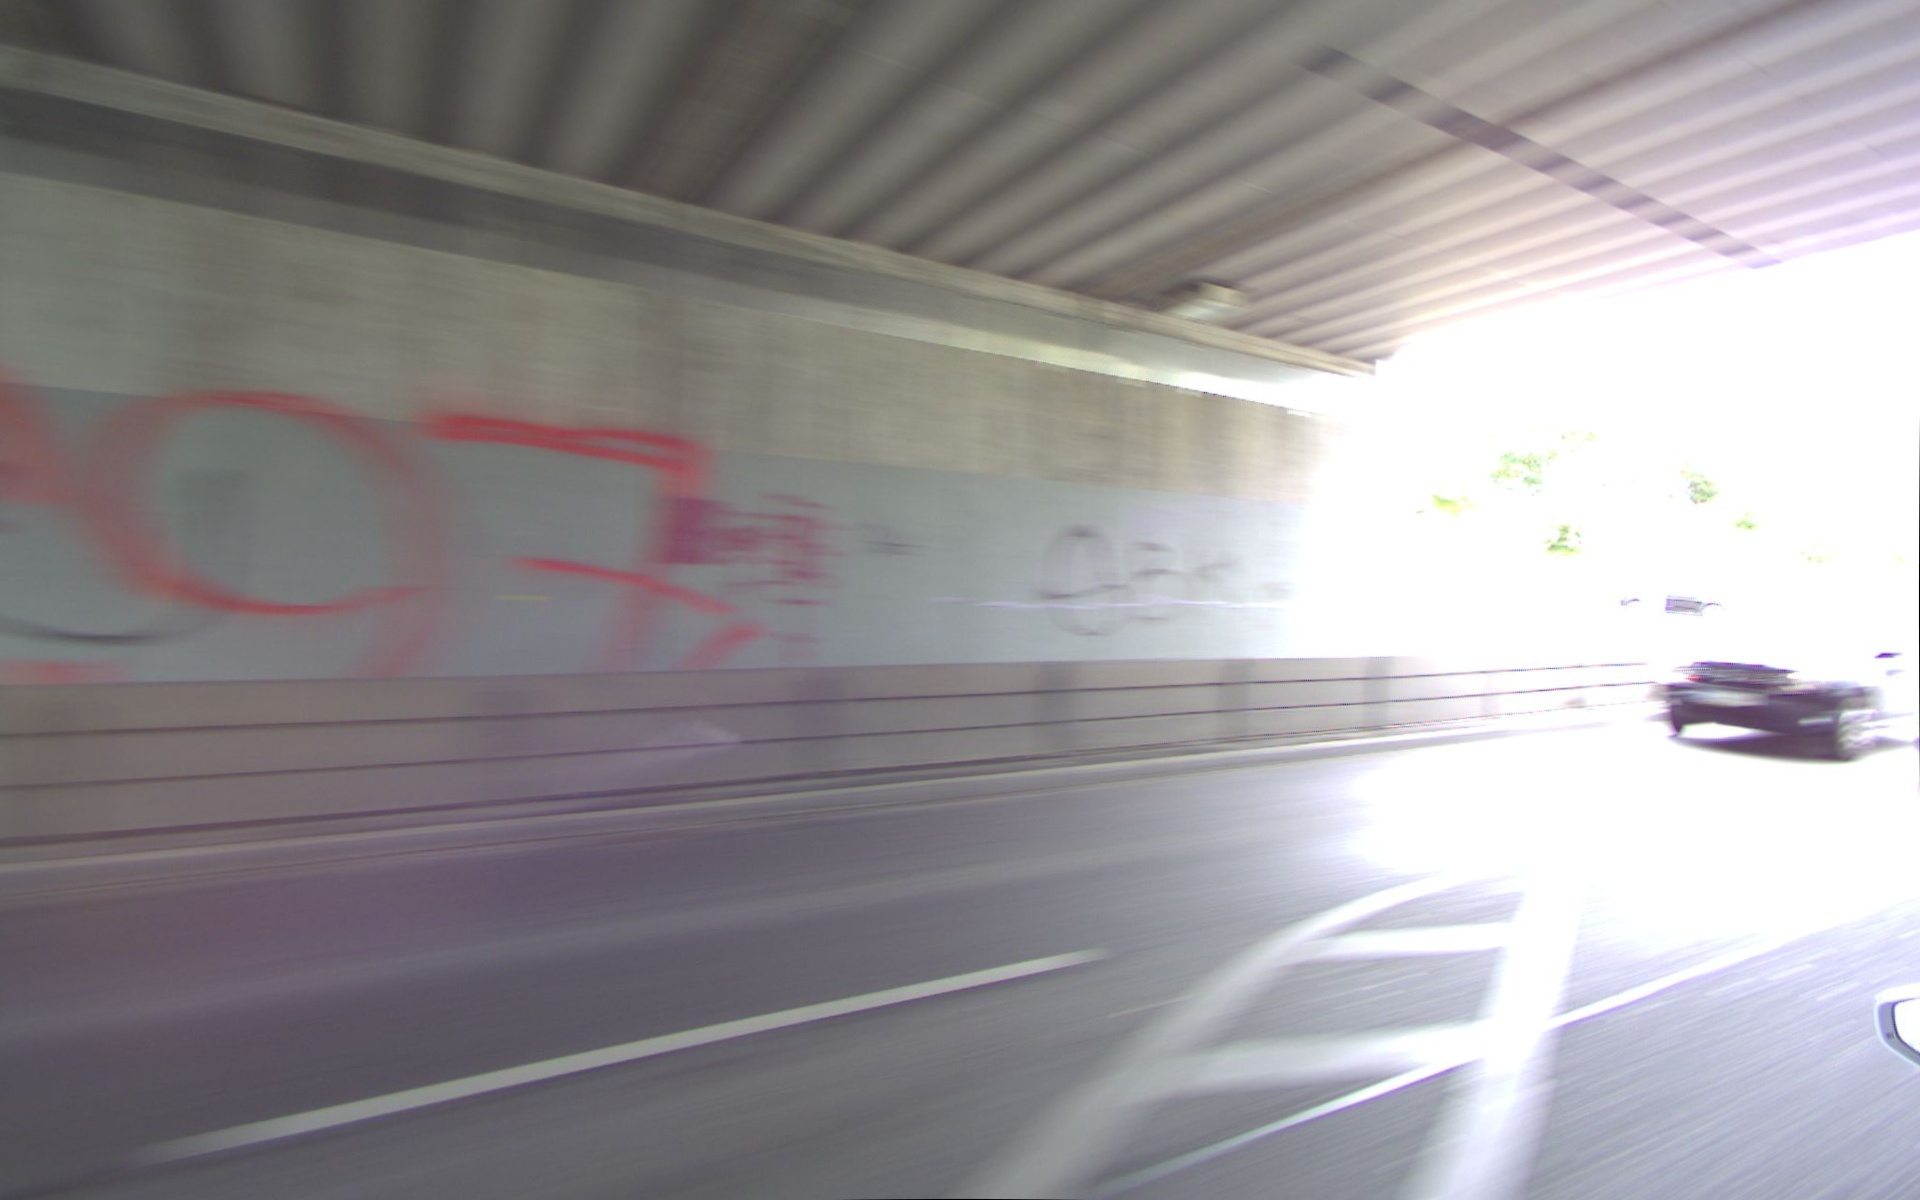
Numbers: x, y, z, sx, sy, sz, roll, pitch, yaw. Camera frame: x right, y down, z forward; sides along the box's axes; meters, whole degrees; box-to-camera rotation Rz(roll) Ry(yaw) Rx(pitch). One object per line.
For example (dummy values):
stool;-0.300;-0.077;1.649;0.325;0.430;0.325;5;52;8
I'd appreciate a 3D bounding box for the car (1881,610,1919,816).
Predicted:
car;9.133;0.889;7.944;3.958;1.513;1.833;1;1;-34

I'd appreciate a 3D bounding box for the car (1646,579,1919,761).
car;9.601;0.676;11.481;3.752;1.731;1.675;0;2;-36

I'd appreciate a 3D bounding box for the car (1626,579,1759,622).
car;30.077;-0.005;41.375;1.847;1.617;3.973;1;2;-26

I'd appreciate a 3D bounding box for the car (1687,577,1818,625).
car;33.890;0.019;43.059;1.978;1.974;3.964;0;1;-33
